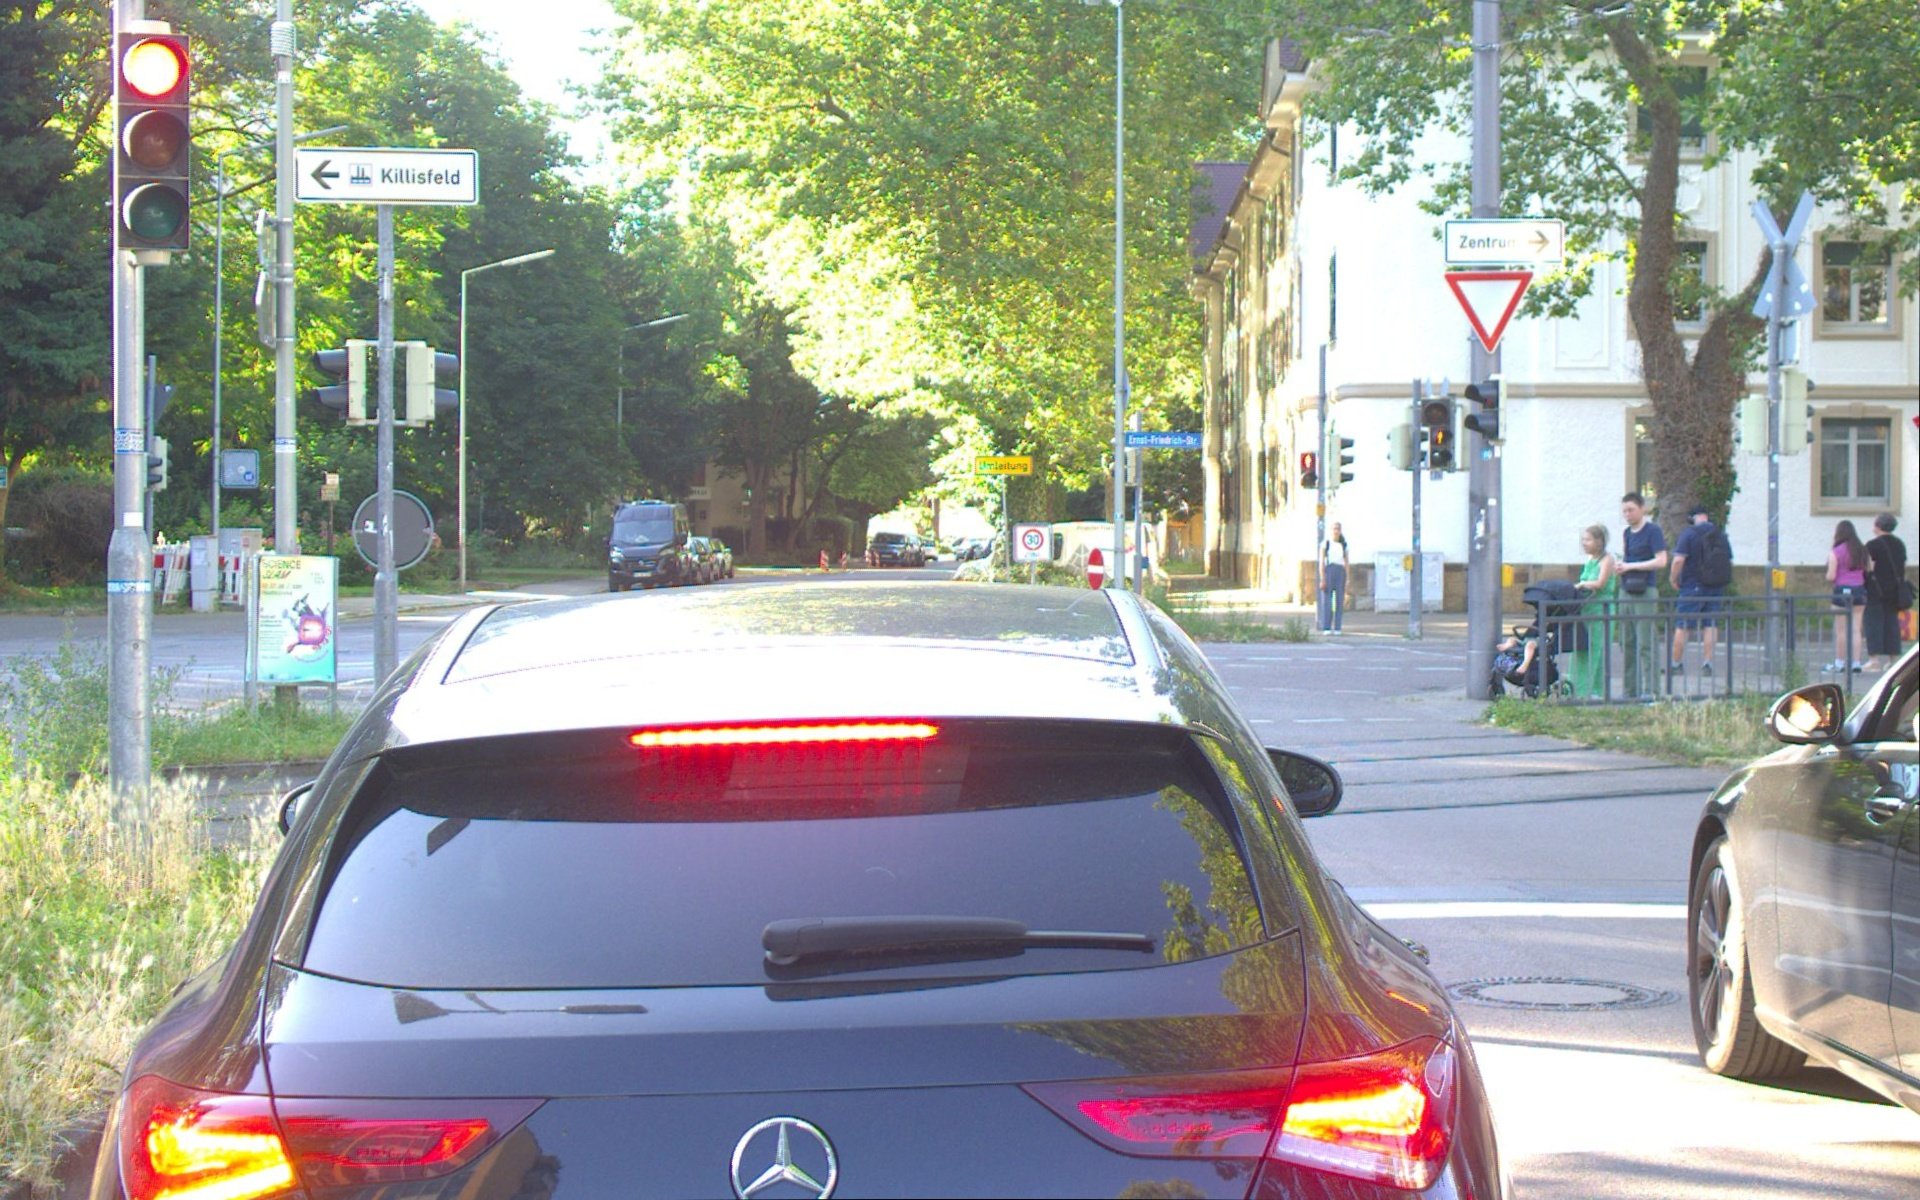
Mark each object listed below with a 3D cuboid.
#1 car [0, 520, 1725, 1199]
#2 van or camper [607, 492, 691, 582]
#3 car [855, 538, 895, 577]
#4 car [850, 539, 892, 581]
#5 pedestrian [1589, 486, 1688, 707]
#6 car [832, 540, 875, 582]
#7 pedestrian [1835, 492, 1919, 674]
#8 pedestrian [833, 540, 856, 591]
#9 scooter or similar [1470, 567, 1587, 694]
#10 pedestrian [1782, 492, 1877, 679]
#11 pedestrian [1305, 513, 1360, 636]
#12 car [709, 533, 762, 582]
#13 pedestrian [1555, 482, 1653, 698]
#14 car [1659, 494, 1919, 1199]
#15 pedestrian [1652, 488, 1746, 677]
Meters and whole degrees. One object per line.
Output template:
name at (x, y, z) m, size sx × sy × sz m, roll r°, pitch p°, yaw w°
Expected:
car at (-0.195, 0.672, 5.339) m, size 1.889 × 1.445 × 4.001 m, roll 1°, pitch 3°, yaw 1°
van or camper at (-8.998, -1.803, 99.742) m, size 1.993 × 2.532 × 4.651 m, roll 1°, pitch 1°, yaw 0°
car at (-3.907, -1.968, 158.470) m, size 1.733 × 1.759 × 4.019 m, roll 1°, pitch 1°, yaw -1°
car at (-3.884, -1.745, 150.387) m, size 1.733 × 1.759 × 4.019 m, roll 1°, pitch 1°, yaw -1°
pedestrian at (5.941, -0.033, 30.124) m, size 0.682 × 1.911 × 0.707 m, roll 1°, pitch 0°, yaw -2°
car at (-4.487, -1.645, 145.567) m, size 1.733 × 1.759 × 4.019 m, roll 1°, pitch 1°, yaw -1°
pedestrian at (9.831, -0.178, 36.674) m, size 0.705 × 1.911 × 0.839 m, roll 1°, pitch 0°, yaw -4°
pedestrian at (-4.372, -1.322, 130.031) m, size 0.705 × 1.911 × 0.839 m, roll 1°, pitch 0°, yaw -10°
scooter or similar at (5.038, 0.268, 30.509) m, size 0.828 × 1.101 × 0.809 m, roll 1°, pitch 0°, yaw -6°
pedestrian at (9.021, -0.149, 35.674) m, size 0.705 × 1.911 × 0.839 m, roll 1°, pitch 0°, yaw -4°
pedestrian at (5.858, -0.405, 54.109) m, size 0.705 × 1.911 × 0.839 m, roll 1°, pitch 0°, yaw -4°
car at (-8.232, -1.564, 126.407) m, size 1.733 × 1.759 × 3.971 m, roll 1°, pitch 1°, yaw -1°
pedestrian at (5.783, -0.095, 30.895) m, size 0.682 × 1.911 × 0.707 m, roll 1°, pitch 0°, yaw -4°
car at (2.890, 0.583, 7.262) m, size 1.889 × 1.485 × 4.382 m, roll 1°, pitch 3°, yaw 0°
pedestrian at (7.588, -0.183, 35.326) m, size 0.705 × 1.911 × 0.839 m, roll 1°, pitch 0°, yaw -4°
